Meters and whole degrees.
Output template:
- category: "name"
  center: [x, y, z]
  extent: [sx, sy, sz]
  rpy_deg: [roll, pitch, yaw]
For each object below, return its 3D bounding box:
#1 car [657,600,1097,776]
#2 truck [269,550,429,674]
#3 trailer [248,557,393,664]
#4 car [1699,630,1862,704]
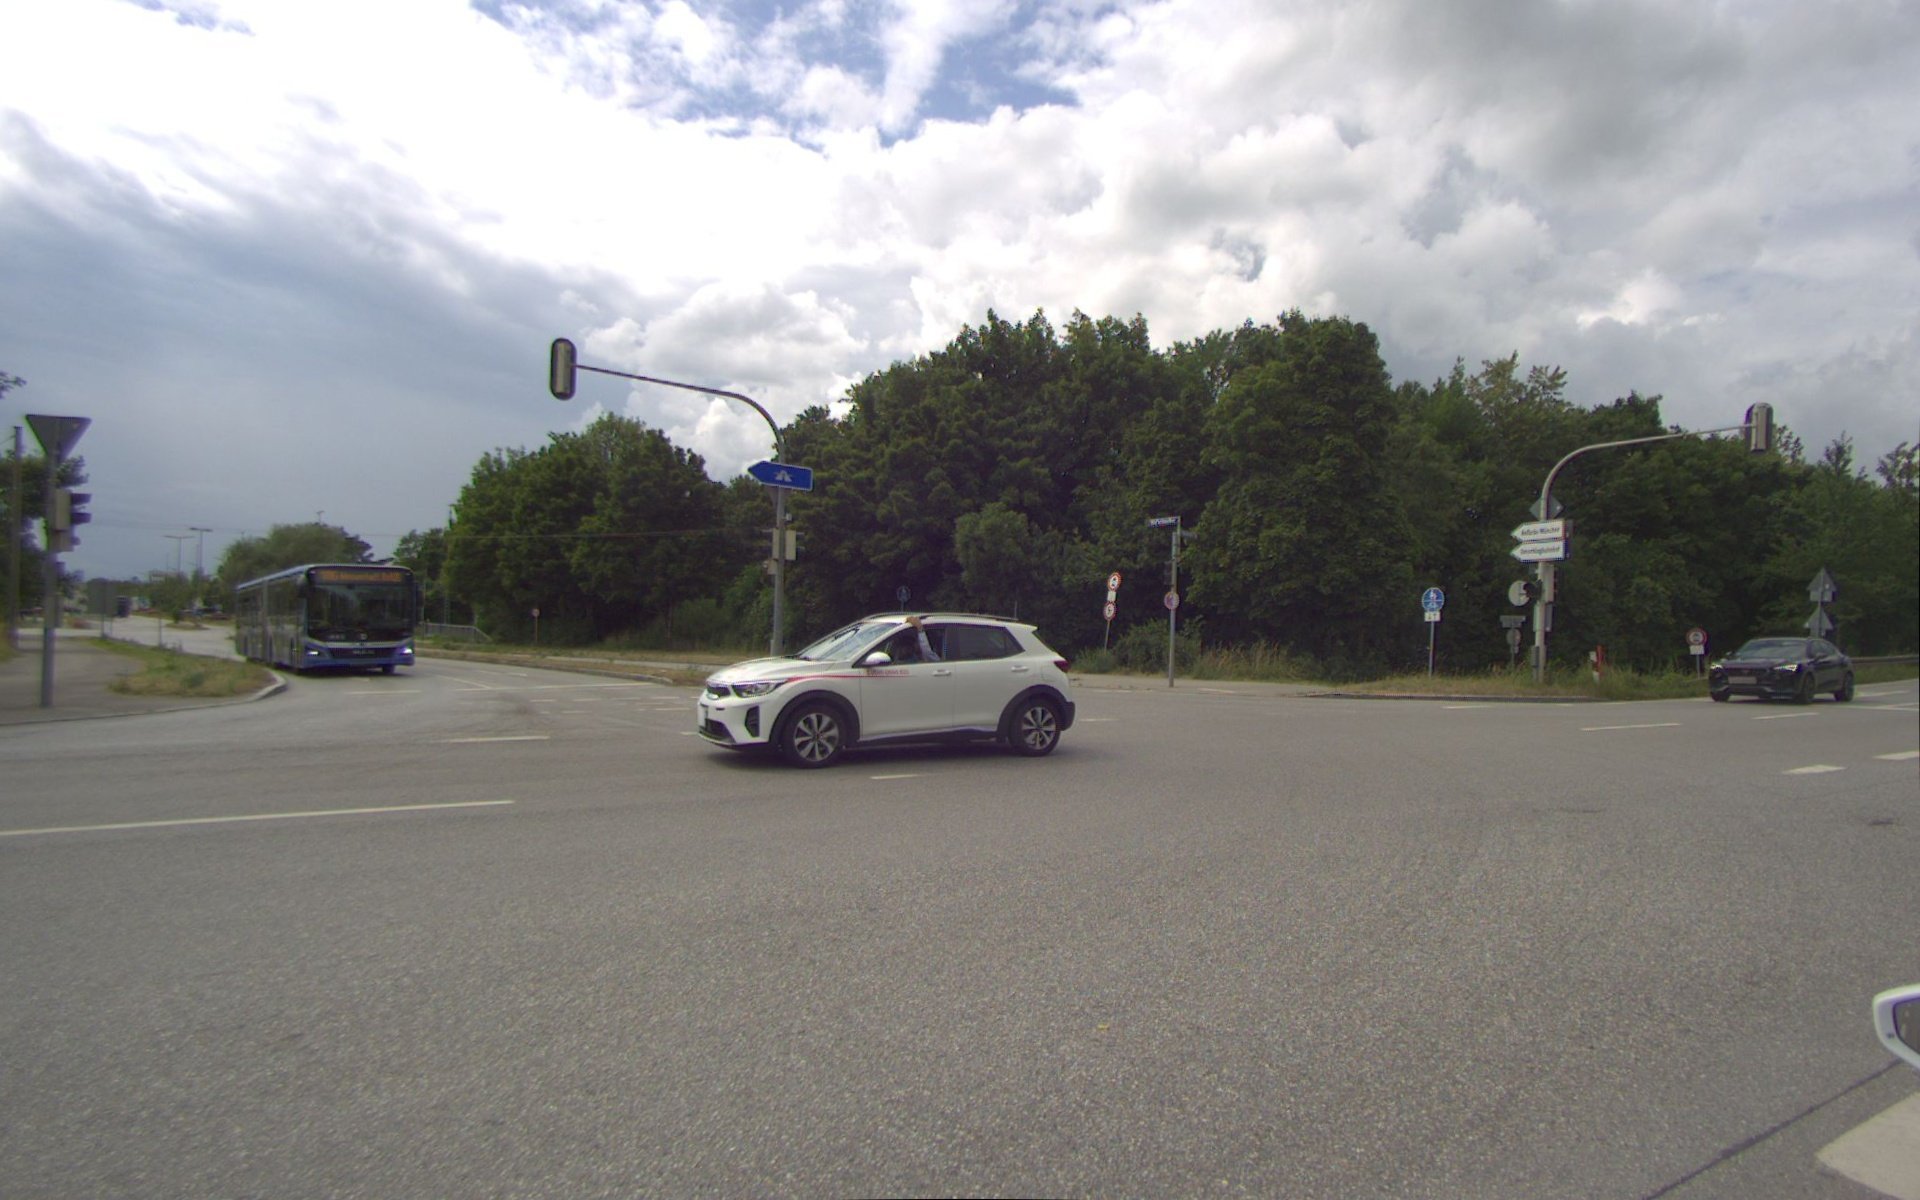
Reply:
- category: "car"
  center: [-0.795, 0.824, 10.583]
  extent: [4.296, 1.525, 1.721]
  rpy_deg: [2, -1, -31]
- category: "truck"
  center: [-17.796, 0.318, 28.982]
  extent: [2.863, 3.077, 7.850]
  rpy_deg: [1, 0, -40]
- category: "trailer"
  center: [-21.869, 0.321, 33.983]
  extent: [2.863, 3.077, 10.631]
  rpy_deg: [1, 0, -39]
- category: "car"
  center: [19.361, 1.545, 23.663]
  extent: [4.157, 1.603, 1.753]
  rpy_deg: [2, -3, -32]
